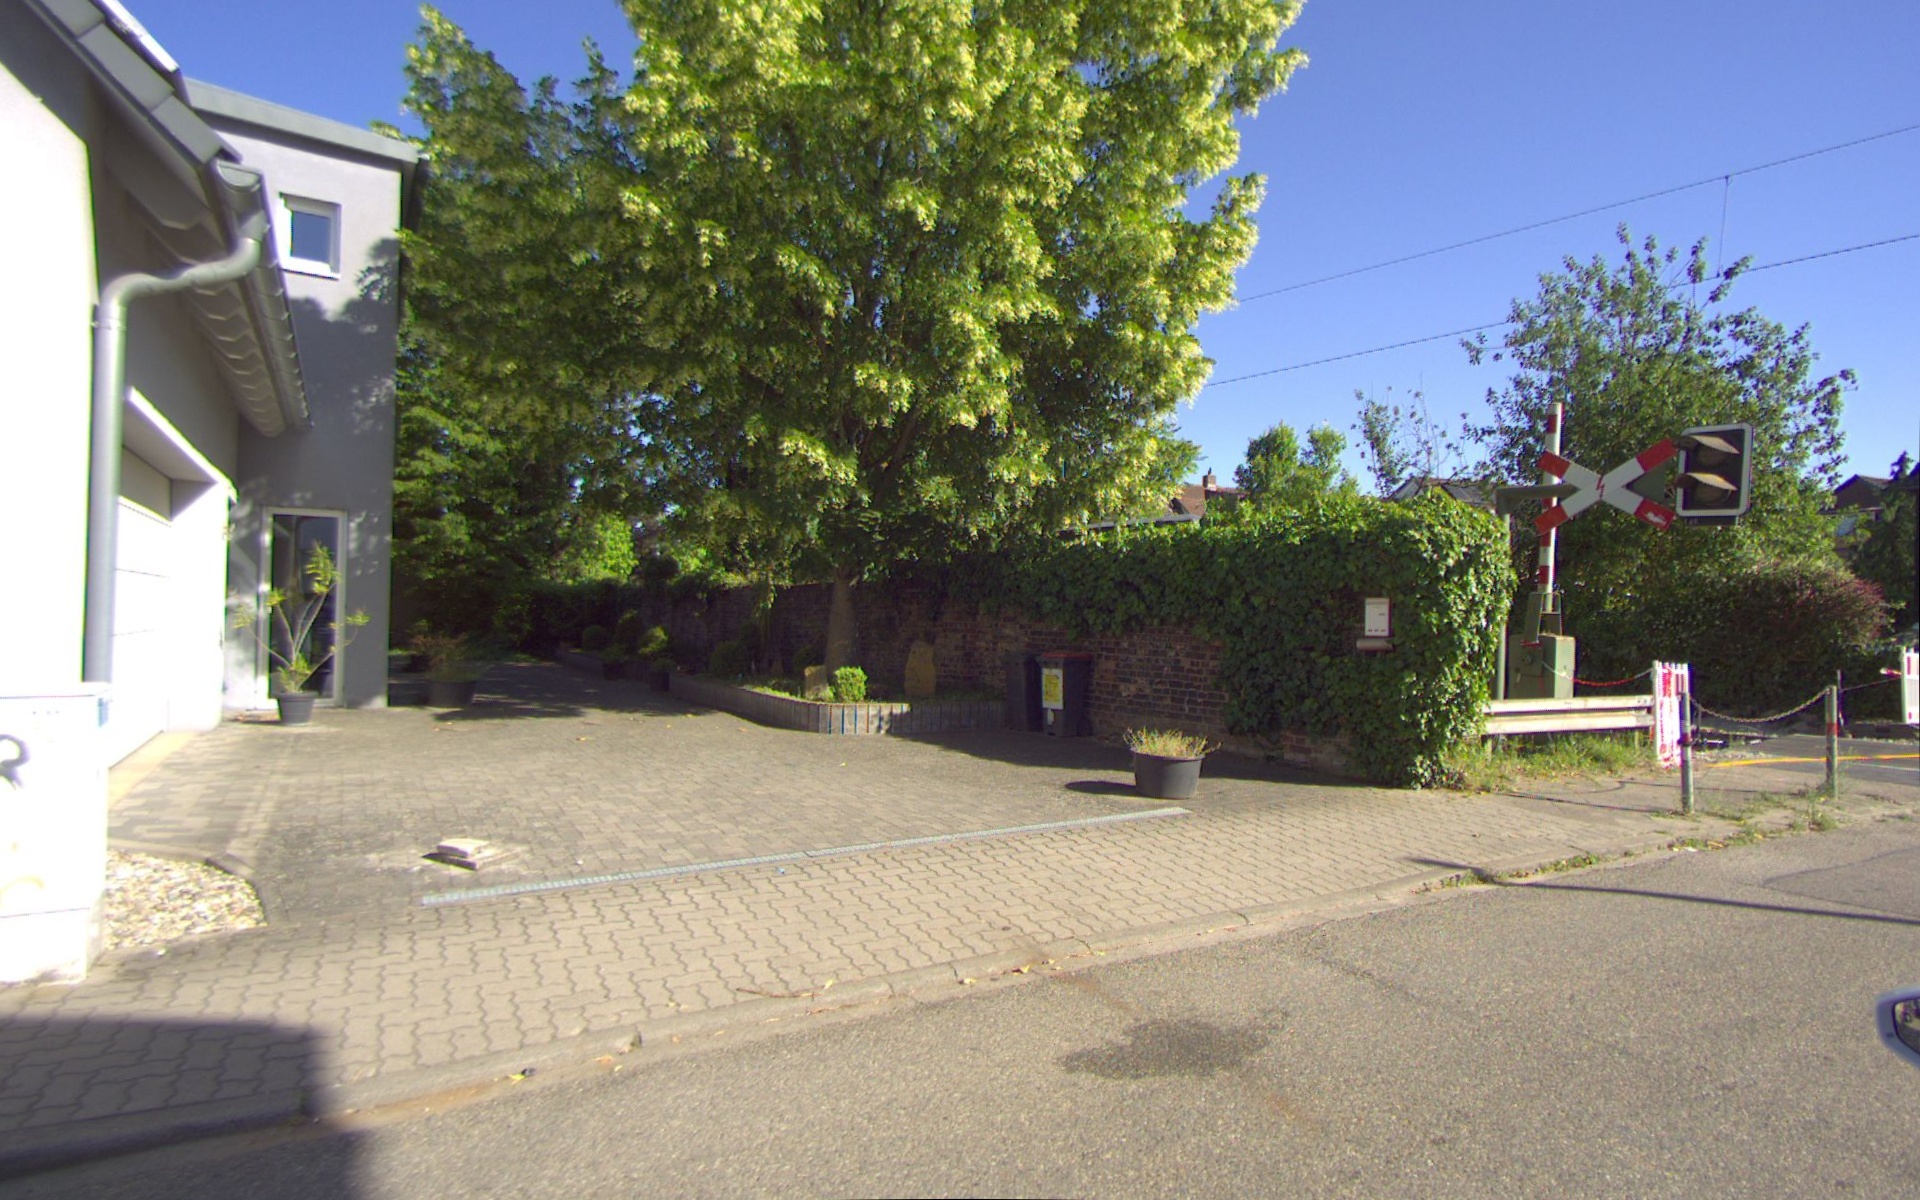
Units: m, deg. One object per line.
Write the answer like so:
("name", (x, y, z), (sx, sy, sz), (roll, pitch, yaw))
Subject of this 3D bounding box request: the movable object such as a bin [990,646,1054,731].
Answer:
("movable object such as a bin", (0.732, 1.039, 11.867), (0.501, 0.946, 0.588), (3, -1, -27))

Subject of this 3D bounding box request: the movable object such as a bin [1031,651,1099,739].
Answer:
("movable object such as a bin", (1.199, 1.078, 11.501), (0.501, 0.946, 0.588), (3, -1, -27))

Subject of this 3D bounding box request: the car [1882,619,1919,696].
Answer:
("car", (20.738, 1.230, 20.662), (1.658, 1.585, 3.993), (3, 0, 29))

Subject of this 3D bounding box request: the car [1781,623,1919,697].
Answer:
("car", (19.197, 1.218, 21.675), (1.613, 1.420, 3.825), (1, -1, 29))
